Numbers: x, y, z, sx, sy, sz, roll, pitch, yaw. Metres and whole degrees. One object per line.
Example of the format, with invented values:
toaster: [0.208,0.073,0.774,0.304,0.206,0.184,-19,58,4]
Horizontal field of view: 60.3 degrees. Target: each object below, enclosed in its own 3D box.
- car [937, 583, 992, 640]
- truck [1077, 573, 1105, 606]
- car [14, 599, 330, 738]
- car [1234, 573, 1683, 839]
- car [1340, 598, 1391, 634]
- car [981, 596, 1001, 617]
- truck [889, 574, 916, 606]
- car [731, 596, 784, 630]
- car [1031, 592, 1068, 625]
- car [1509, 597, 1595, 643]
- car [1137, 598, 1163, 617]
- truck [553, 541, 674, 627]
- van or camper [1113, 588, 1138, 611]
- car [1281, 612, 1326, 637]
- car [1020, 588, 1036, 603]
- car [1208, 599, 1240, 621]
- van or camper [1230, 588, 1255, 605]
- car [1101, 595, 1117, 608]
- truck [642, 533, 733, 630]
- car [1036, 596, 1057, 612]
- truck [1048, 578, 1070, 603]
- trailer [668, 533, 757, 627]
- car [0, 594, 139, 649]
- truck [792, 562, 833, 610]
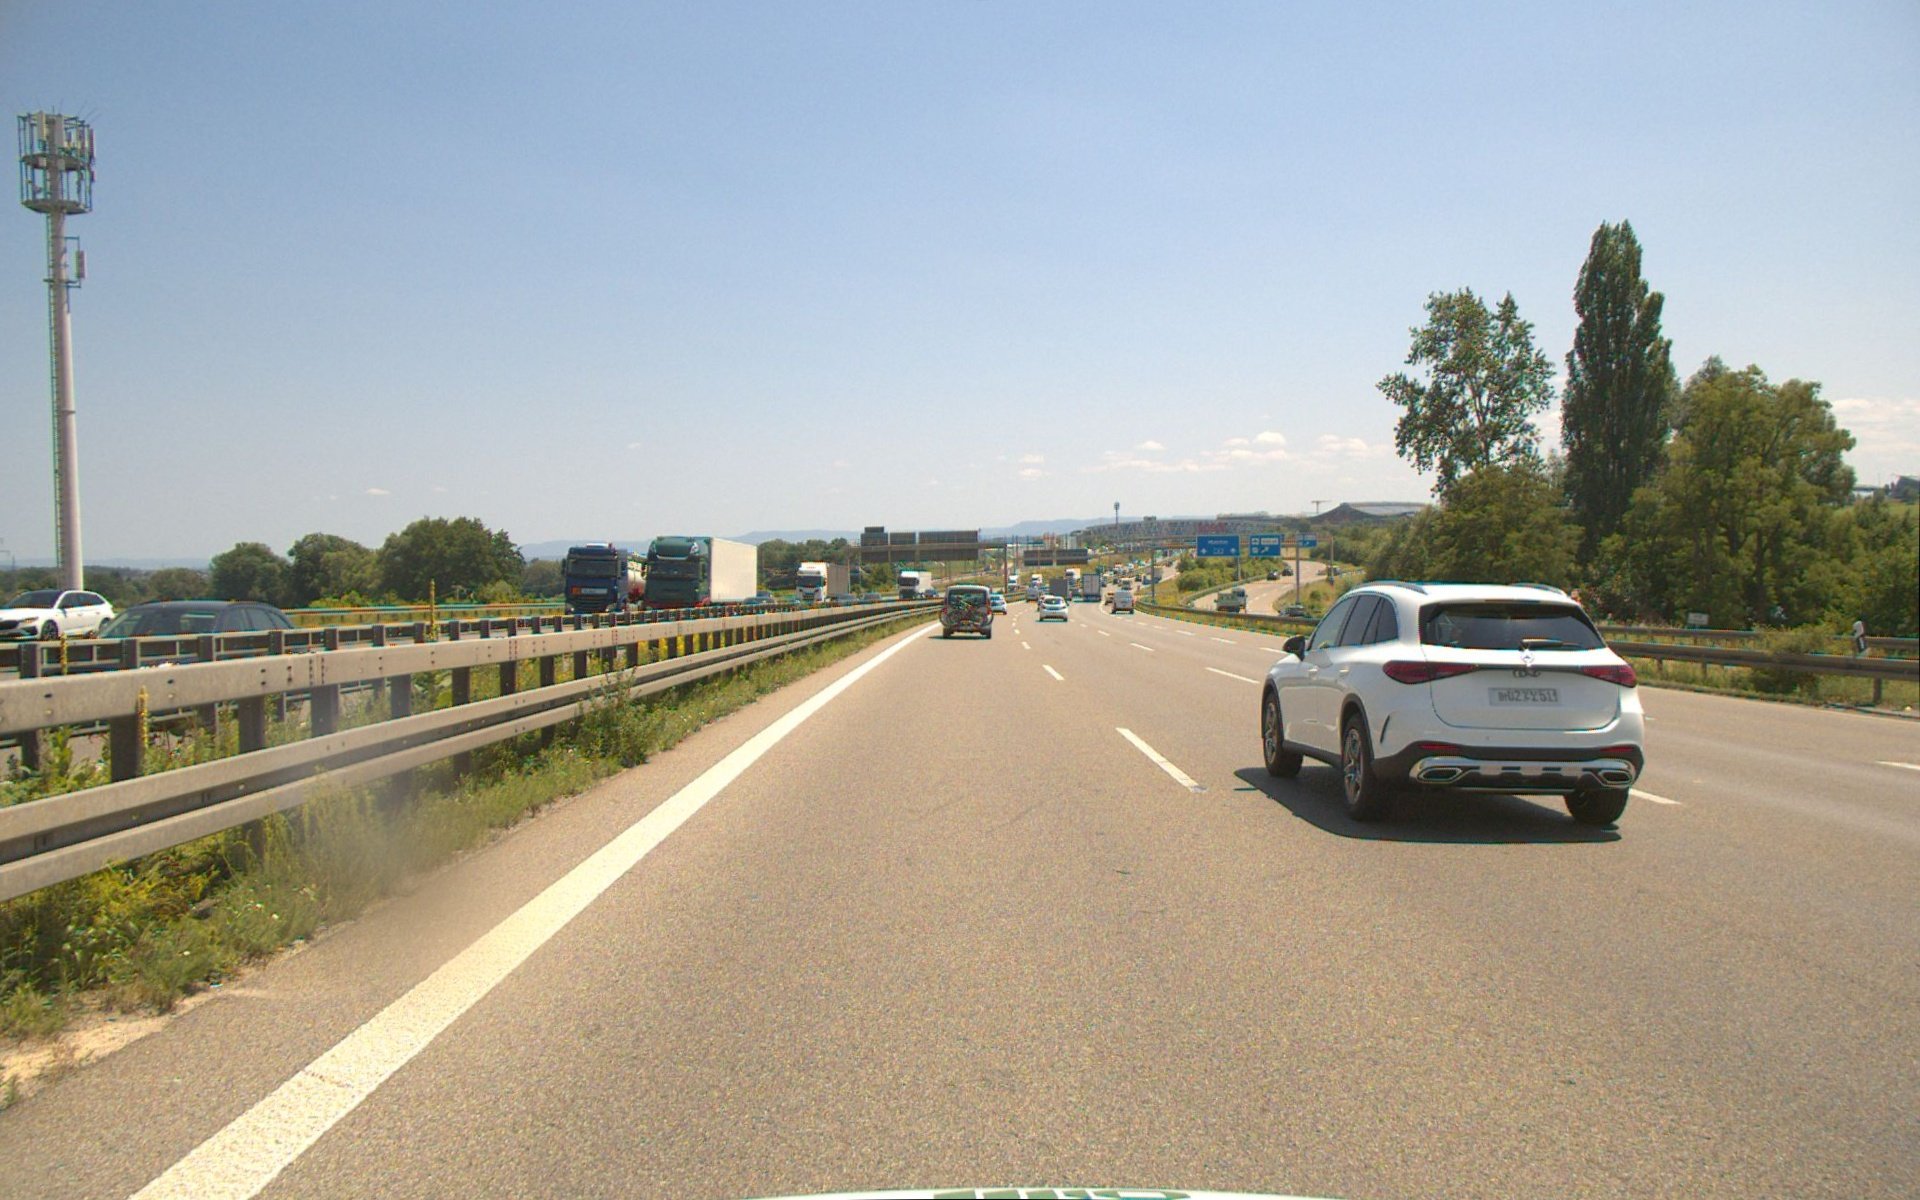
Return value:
car: [0.169,0.395,58.863,1.887,1.952,4.948,0,0,0]
truck: [19.169,-1.623,242.953,3.954,4.335,11.766,0,2,4]
car: [-9.435,0.742,20.276,1.643,1.489,4.704,0,0,0]
car: [3.575,0.676,12.974,1.860,1.676,4.996,0,0,-2]
car: [22.806,0.890,93.167,1.899,1.957,4.180,0,0,1]
car: [2.397,0.503,128.556,1.543,1.579,3.964,0,0,0]
truck: [-7.934,-1.404,229.144,2.971,4.314,6.688,1,0,3]
car: [-8.773,0.560,71.884,1.768,1.414,4.291,0,0,0]
car: [5.437,0.507,100.421,1.887,1.952,4.516,0,0,-1]
car: [21.243,0.691,59.506,1.664,1.602,4.128,0,0,0]
car: [18.085,0.716,157.480,1.953,1.720,3.999,0,0,-2]
truck: [-16.695,-0.739,80.794,3.153,3.852,12.900,0,0,0]
van or camper: [14.807,-0.057,148.058,2.110,2.049,4.306,0,0,4]
car: [23.511,1.674,113.355,1.955,1.624,3.995,0,0,-5]
car: [9.339,-0.547,227.872,2.140,2.038,4.001,0,0,3]
car: [25.277,0.954,158.375,1.956,2.049,3.993,0,0,-8]
van or camper: [35.104,-0.452,205.691,2.476,2.049,4.461,0,0,1]
car: [19.467,0.178,216.059,1.952,1.720,4.001,0,0,2]
truck: [-12.443,-0.802,76.283,2.906,4.192,7.597,0,0,0]
car: [8.113,0.358,154.914,1.940,1.499,4.002,0,0,3]
truck: [12.826,-1.177,213.929,2.645,3.163,10.665,0,0,5]
trailer: [-12.431,-0.945,84.117,2.894,4.448,10.732,0,0,0]
car: [-24.594,0.548,45.334,1.486,1.426,4.800,0,0,5]
truck: [-13.282,-1.273,149.291,2.821,4.189,6.386,1,0,2]
